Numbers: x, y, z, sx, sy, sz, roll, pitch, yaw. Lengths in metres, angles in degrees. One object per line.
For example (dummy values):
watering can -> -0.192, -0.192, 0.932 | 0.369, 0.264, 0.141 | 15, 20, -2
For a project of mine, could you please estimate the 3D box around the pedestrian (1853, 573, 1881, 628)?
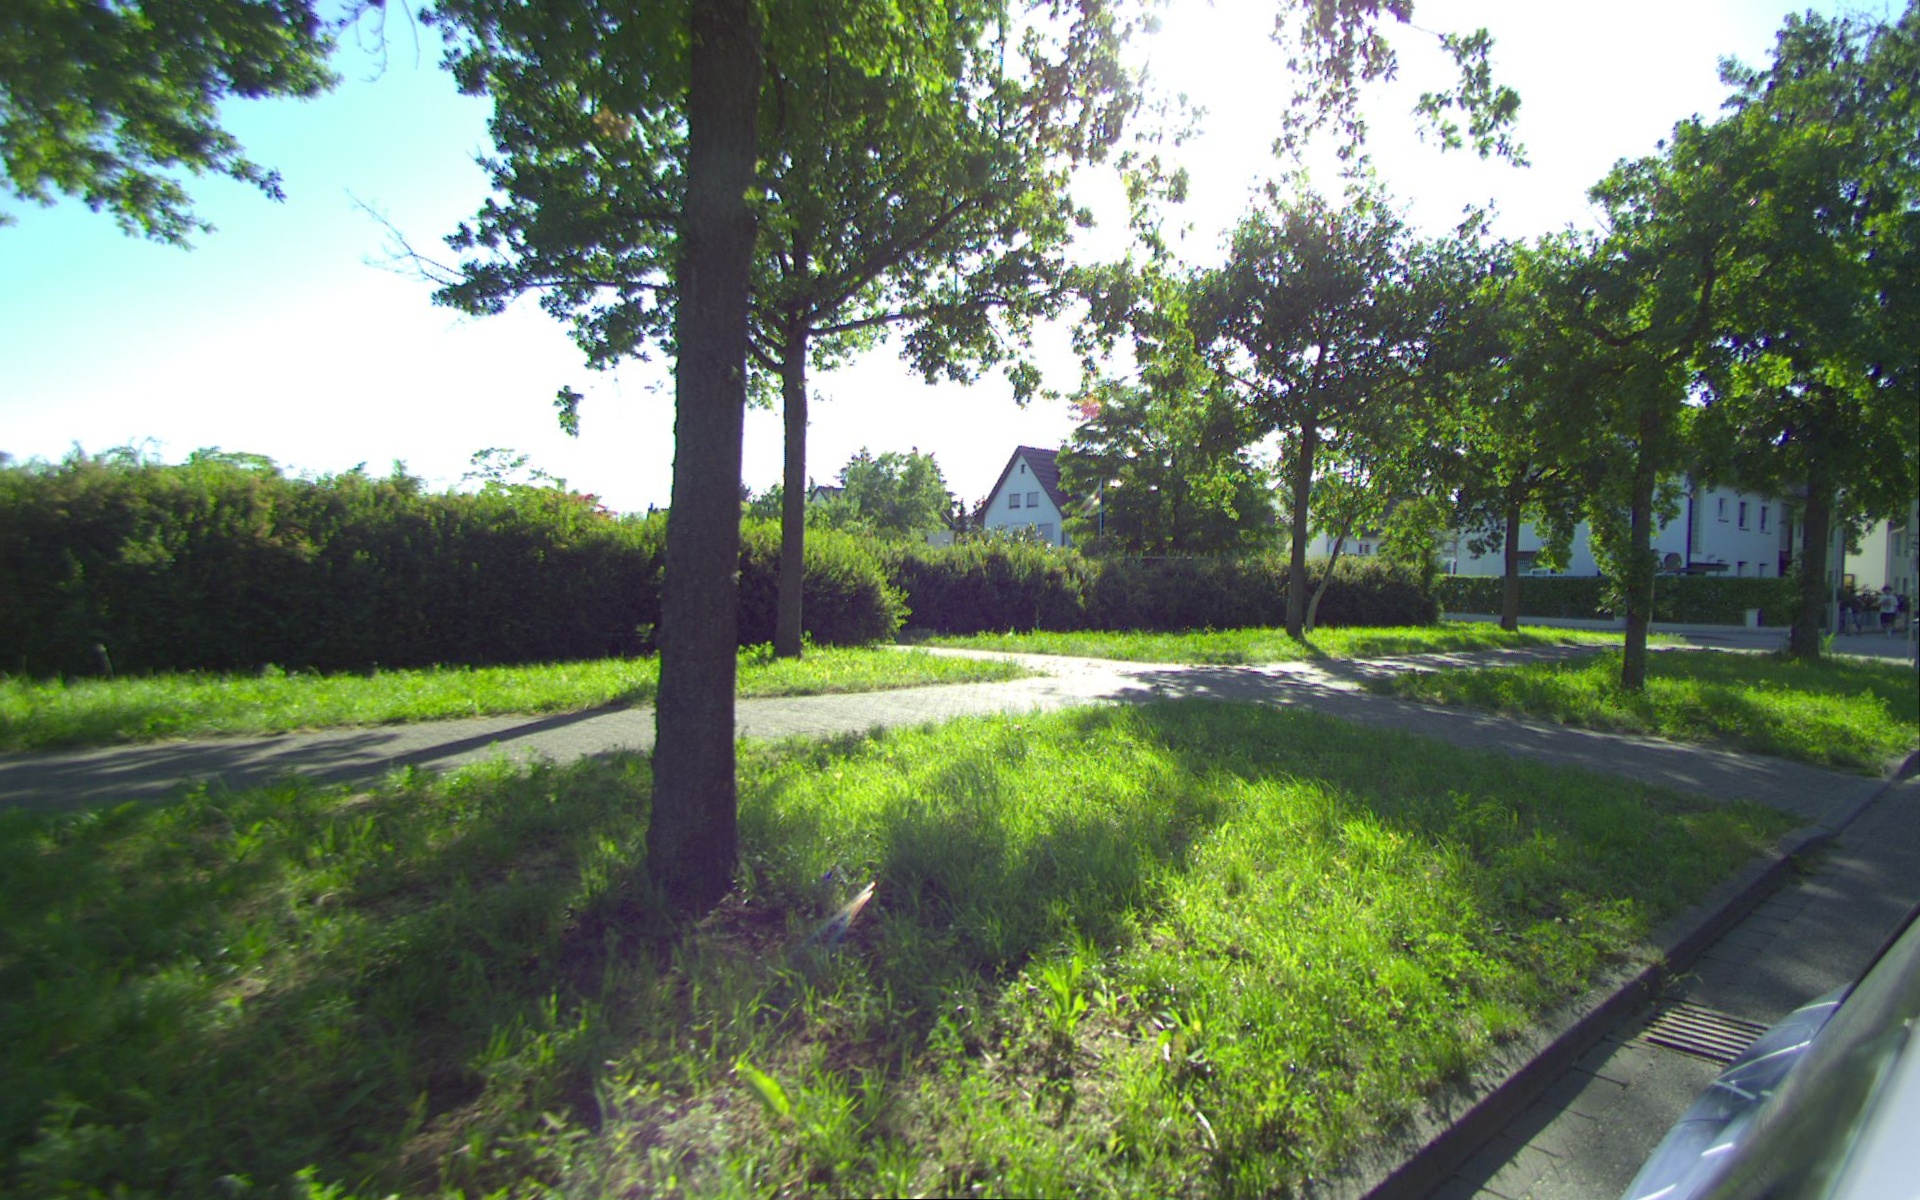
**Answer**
pedestrian -> 34.529, 0.015, 38.513 | 0.819, 2.038, 0.610 | 1, 1, -40

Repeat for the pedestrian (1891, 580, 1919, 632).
pedestrian -> 35.169, 0.209, 37.622 | 0.853, 1.889, 0.665 | 1, 2, -40
